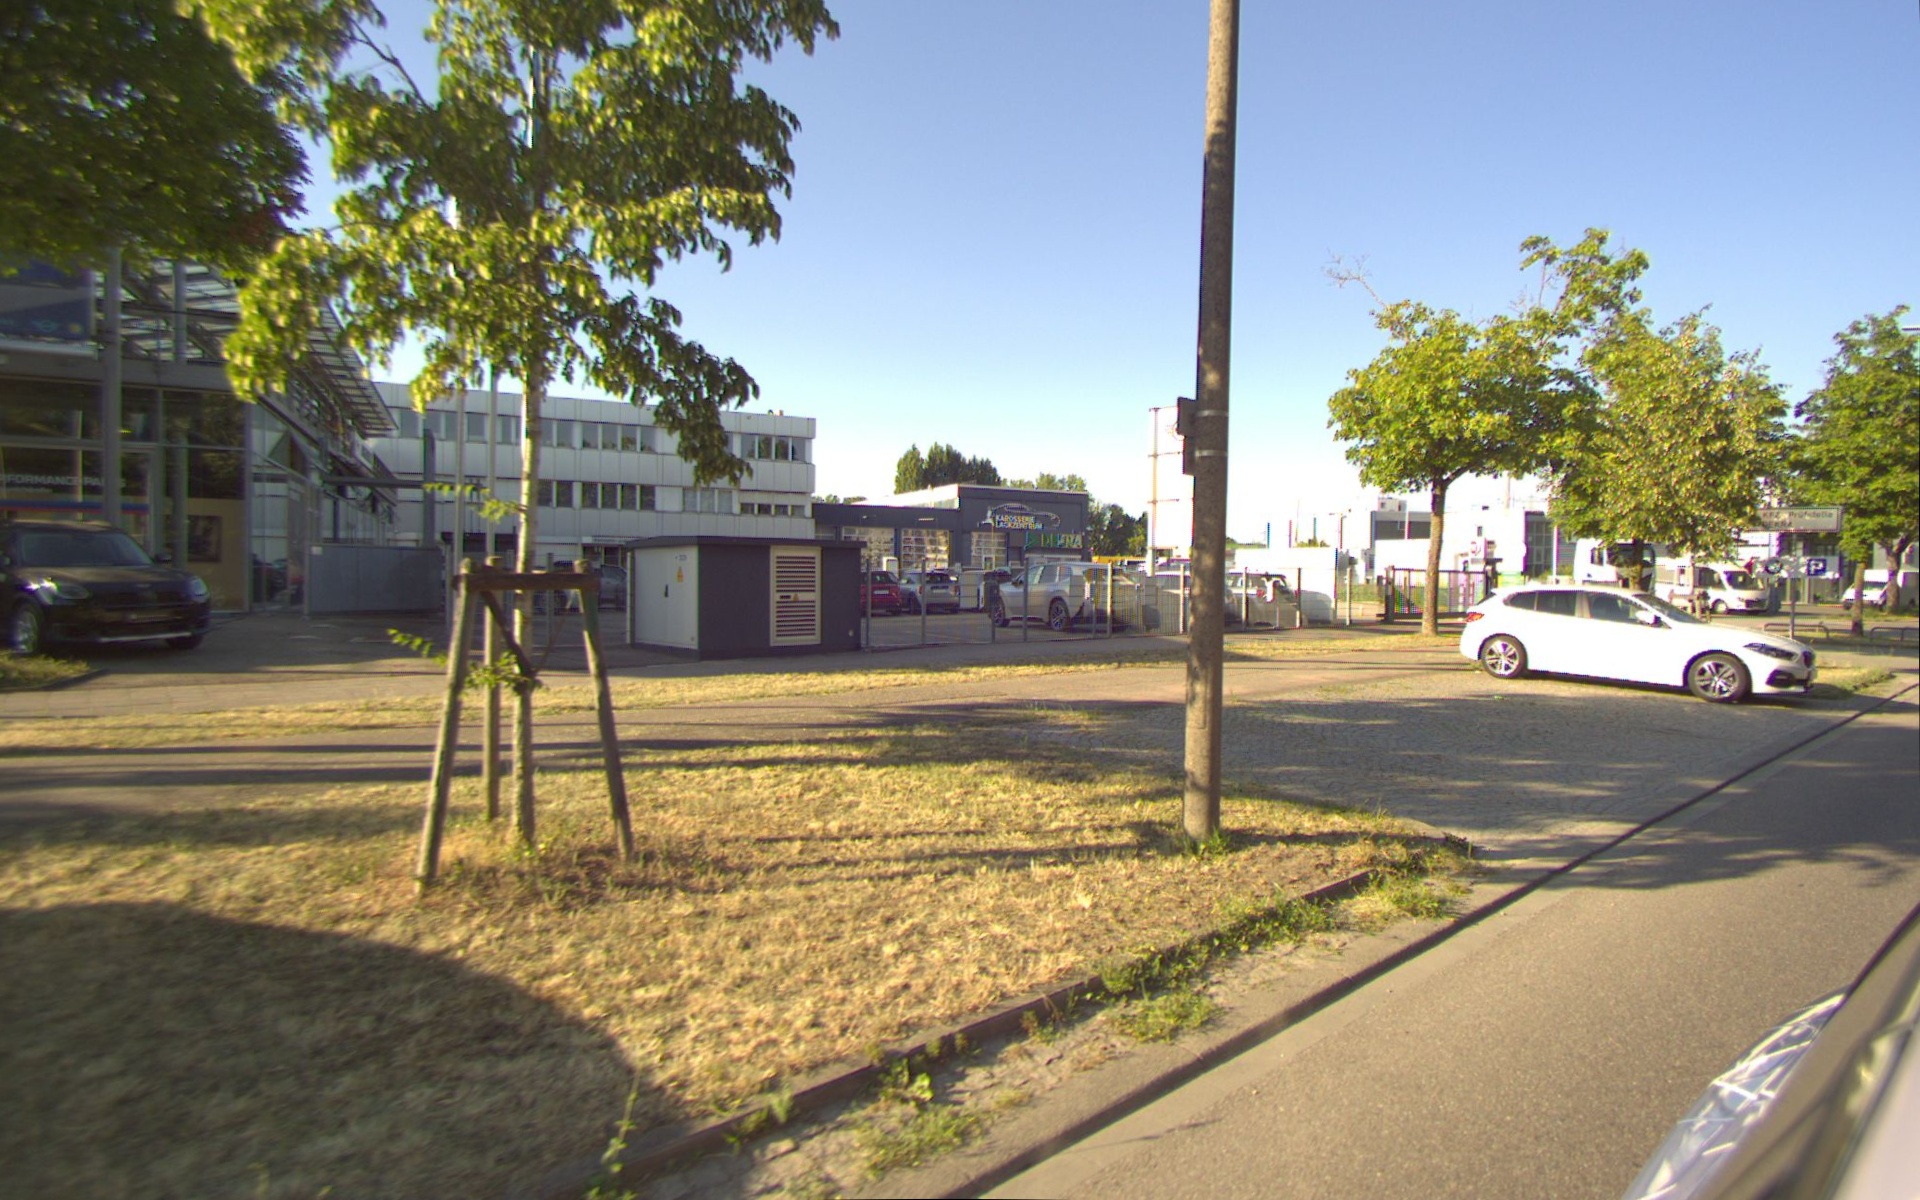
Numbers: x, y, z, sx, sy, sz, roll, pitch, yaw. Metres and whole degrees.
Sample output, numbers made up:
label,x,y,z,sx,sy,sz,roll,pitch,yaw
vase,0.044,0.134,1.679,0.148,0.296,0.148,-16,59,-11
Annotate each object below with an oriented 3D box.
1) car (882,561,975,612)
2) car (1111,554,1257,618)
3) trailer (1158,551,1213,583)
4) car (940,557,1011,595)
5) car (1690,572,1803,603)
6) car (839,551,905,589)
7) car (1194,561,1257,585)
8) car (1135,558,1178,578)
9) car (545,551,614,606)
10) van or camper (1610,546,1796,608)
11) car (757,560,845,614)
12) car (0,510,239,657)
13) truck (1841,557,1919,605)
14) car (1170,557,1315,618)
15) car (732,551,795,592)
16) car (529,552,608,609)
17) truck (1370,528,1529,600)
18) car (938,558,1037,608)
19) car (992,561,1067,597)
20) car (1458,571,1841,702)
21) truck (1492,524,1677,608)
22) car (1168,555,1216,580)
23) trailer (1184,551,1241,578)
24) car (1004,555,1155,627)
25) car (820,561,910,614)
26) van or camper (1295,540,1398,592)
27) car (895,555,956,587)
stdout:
label,x,y,z,sx,sy,sz,roll,pitch,yaw
car,-1.160,-0.537,35.197,1.958,1.597,4.009,-2,3,-21
car,6.002,-0.432,27.563,1.958,1.598,4.009,0,2,-21
trailer,22.209,-3.235,99.672,4.758,3.107,2.004,1,1,-9
car,0.643,-1.125,46.089,1.865,1.597,4.009,-2,3,-21
car,43.185,-0.711,55.619,4.795,1.510,1.970,3,3,42
car,-4.279,-1.457,48.616,1.958,1.762,4.008,0,2,-24
car,23.639,-2.405,90.234,4.947,2.038,2.004,1,2,-10
car,20.521,-3.312,105.604,3.917,2.038,2.004,1,2,-9
car,-12.918,-0.748,34.331,1.958,1.598,4.009,5,0,-21
van or camper,38.408,-1.265,52.795,2.882,2.935,8.027,1,2,-9
car,-5.259,-0.488,33.065,1.958,1.597,4.009,-2,3,-21
car,-12.072,-0.323,13.626,4.560,1.686,1.982,3,3,27
truck,55.720,-1.103,60.283,5.847,2.753,2.552,0,2,-24
car,7.966,-0.406,28.963,1.958,1.598,4.009,0,2,-21
car,-9.036,-1.332,46.396,1.958,1.762,4.008,0,2,-24
car,-11.404,-0.606,29.536,1.958,1.464,4.009,2,1,-21
truck,27.287,-2.036,57.223,3.229,3.689,10.133,1,2,-5
car,0.898,-0.665,35.968,2.116,1.597,4.009,-2,3,-21
car,3.201,-0.998,47.495,1.958,1.598,4.009,0,2,-21
car,9.836,0.389,14.687,2.052,1.461,4.206,-1,4,-42
truck,29.035,-1.595,47.681,3.053,3.565,8.264,1,2,-4
car,22.075,-3.088,96.255,3.918,2.305,2.092,1,2,-9
trailer,23.473,-3.292,94.147,4.758,2.466,2.004,1,2,-9
car,2.776,-0.275,24.513,1.958,1.598,4.009,0,2,-21
car,-3.259,-0.485,34.113,1.958,1.597,4.009,-2,3,-21
van or camper,26.327,-2.341,69.413,2.364,3.370,8.157,1,2,-13
car,-1.795,-1.503,51.469,1.809,1.492,4.009,2,1,-21
